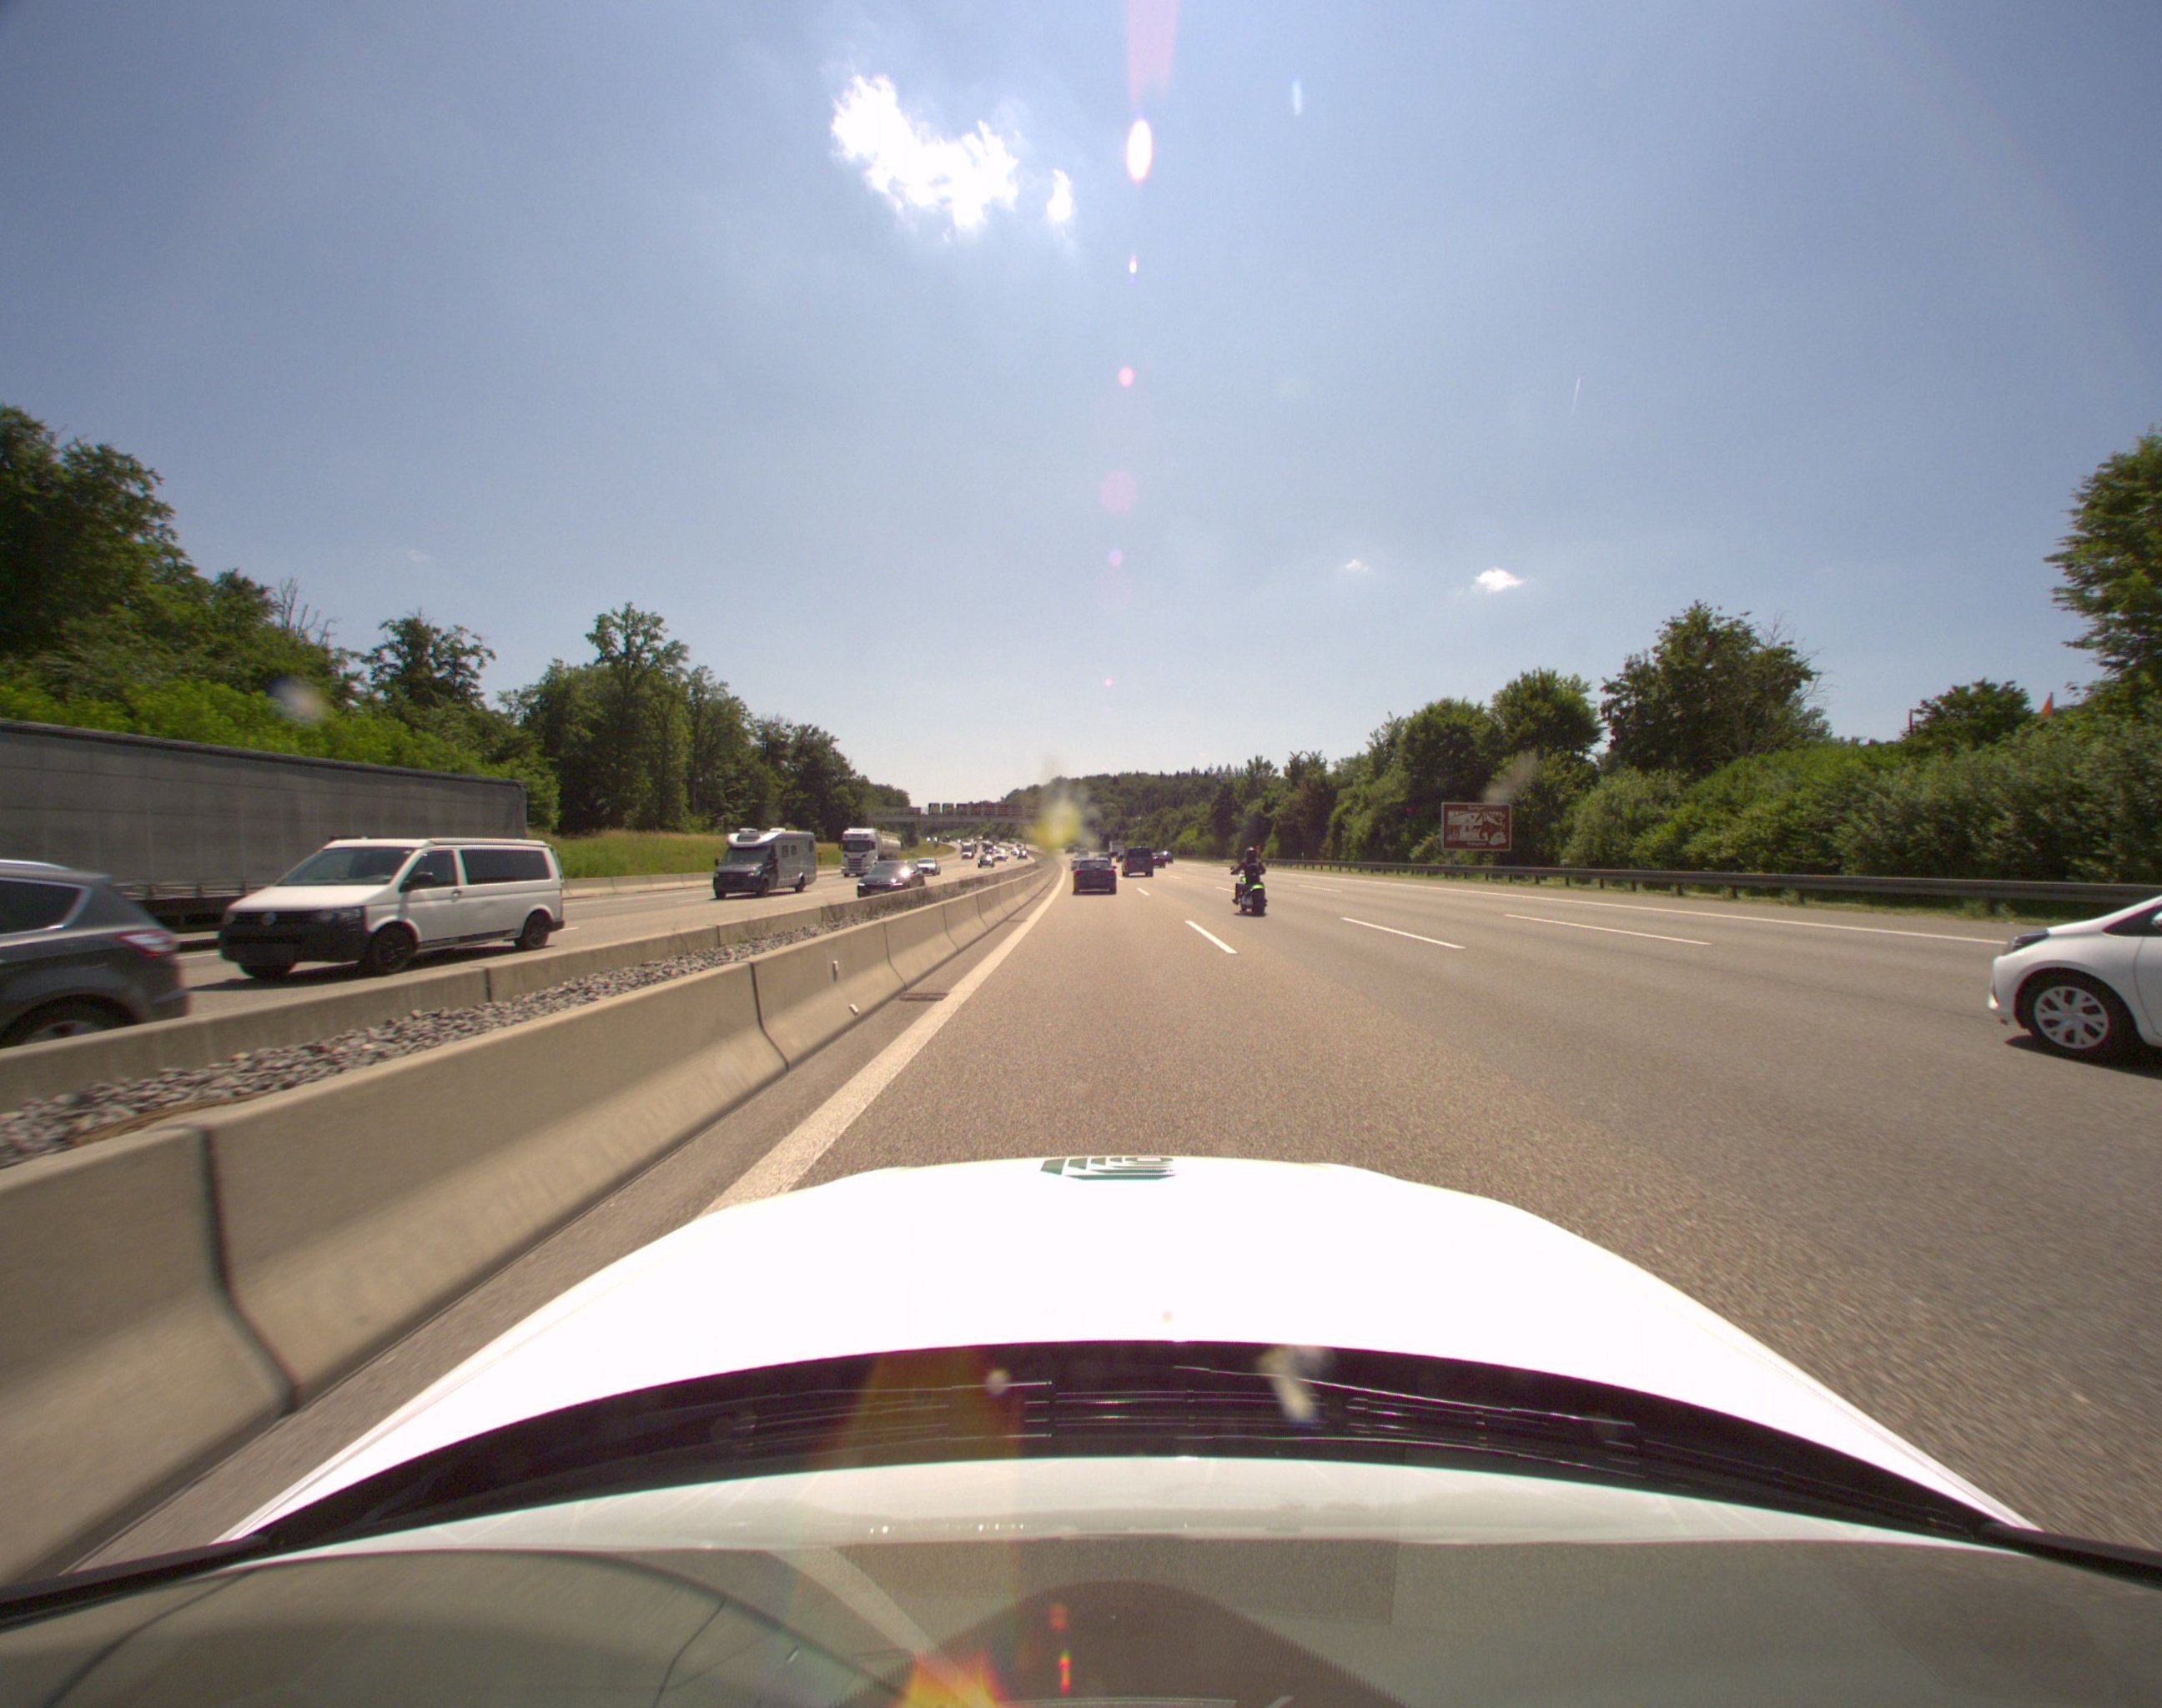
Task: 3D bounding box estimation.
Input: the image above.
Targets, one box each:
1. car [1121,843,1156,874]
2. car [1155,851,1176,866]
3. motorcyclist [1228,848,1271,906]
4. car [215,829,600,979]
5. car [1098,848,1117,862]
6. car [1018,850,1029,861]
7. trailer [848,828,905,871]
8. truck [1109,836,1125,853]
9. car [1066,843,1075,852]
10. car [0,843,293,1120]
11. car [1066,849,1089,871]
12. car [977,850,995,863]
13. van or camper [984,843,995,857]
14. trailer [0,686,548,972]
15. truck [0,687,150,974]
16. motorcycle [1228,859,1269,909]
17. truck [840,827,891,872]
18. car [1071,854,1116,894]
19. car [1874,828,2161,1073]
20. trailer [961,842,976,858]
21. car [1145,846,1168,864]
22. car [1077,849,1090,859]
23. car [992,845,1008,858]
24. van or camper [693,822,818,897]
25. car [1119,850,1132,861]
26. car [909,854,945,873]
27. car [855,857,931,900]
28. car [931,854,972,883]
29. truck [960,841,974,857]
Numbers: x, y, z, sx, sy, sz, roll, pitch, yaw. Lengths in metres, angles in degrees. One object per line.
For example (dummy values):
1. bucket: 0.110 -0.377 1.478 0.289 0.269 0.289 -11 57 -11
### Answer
1. car: 3.858 0.325 55.481 1.957 2.033 5.081 -1 -1 -1
2. car: 10.278 0.565 99.499 1.988 1.728 3.998 -1 0 -1
3. motorcyclist: 4.242 0.565 20.615 0.850 1.427 1.023 -1 1 0
4. car: -10.703 0.691 13.677 1.995 2.013 5.187 -1 0 2
5. car: 3.335 0.163 102.975 1.989 1.728 4.144 -1 0 -4
6. car: -10.947 0.309 154.798 1.990 2.014 3.994 0 -1 -4
7. trailer: -18.011 -0.339 72.552 2.644 3.535 10.488 0 -1 -1
8. truck: 7.079 -1.987 160.710 2.975 3.166 7.576 -1 2 0
9. car: -2.848 -1.708 217.807 2.258 2.371 4.701 -1 1 0
10. car: -7.356 0.769 3.991 1.866 1.633 5.164 -1 0 1
11. car: -0.297 0.587 75.298 2.005 1.846 3.999 -1 -2 0
12. car: -11.106 0.332 95.627 1.670 1.526 4.608 0 -1 -1
13. van or camper: -24.297 -0.967 216.472 2.425 3.678 7.747 -1 0 -4
14. trailer: -17.953 -0.309 17.872 3.021 4.360 14.274 0 -1 0
15. truck: -18.014 -0.371 11.139 3.032 4.372 6.454 0 -1 0
16. motorcycle: 4.215 0.718 20.620 0.534 1.135 2.437 -1 1 0
17. truck: -17.943 -0.335 68.217 2.696 3.543 6.617 0 -1 -1
18. car: 0.536 0.758 33.146 1.702 1.433 4.001 0 1 1
19. car: 7.565 0.584 4.657 1.743 1.519 4.485 -1 0 1
20. trailer: -23.713 -0.876 172.147 2.470 3.154 10.465 0 -1 -3
21. car: 7.353 0.111 79.790 1.843 1.728 4.000 -1 0 0
22. car: 0.451 -0.049 149.352 2.098 1.744 4.684 -1 2 -3
23. car: -13.608 -0.431 137.370 2.190 2.055 7.134 -1 0 -2
24. van or camper: -14.118 0.222 36.054 2.550 2.931 7.347 -1 0 0
25. car: 6.223 0.141 113.961 1.660 1.408 4.903 -1 2 0
26. car: -12.479 0.719 66.303 1.988 1.459 5.044 -1 0 -2
27. car: -6.984 0.868 30.784 1.668 1.497 4.951 0 -1 0
28. car: -8.510 0.936 53.806 2.283 1.728 5.022 -1 0 -5
29. truck: -23.389 -0.945 166.897 2.482 3.166 4.396 0 0 -3
